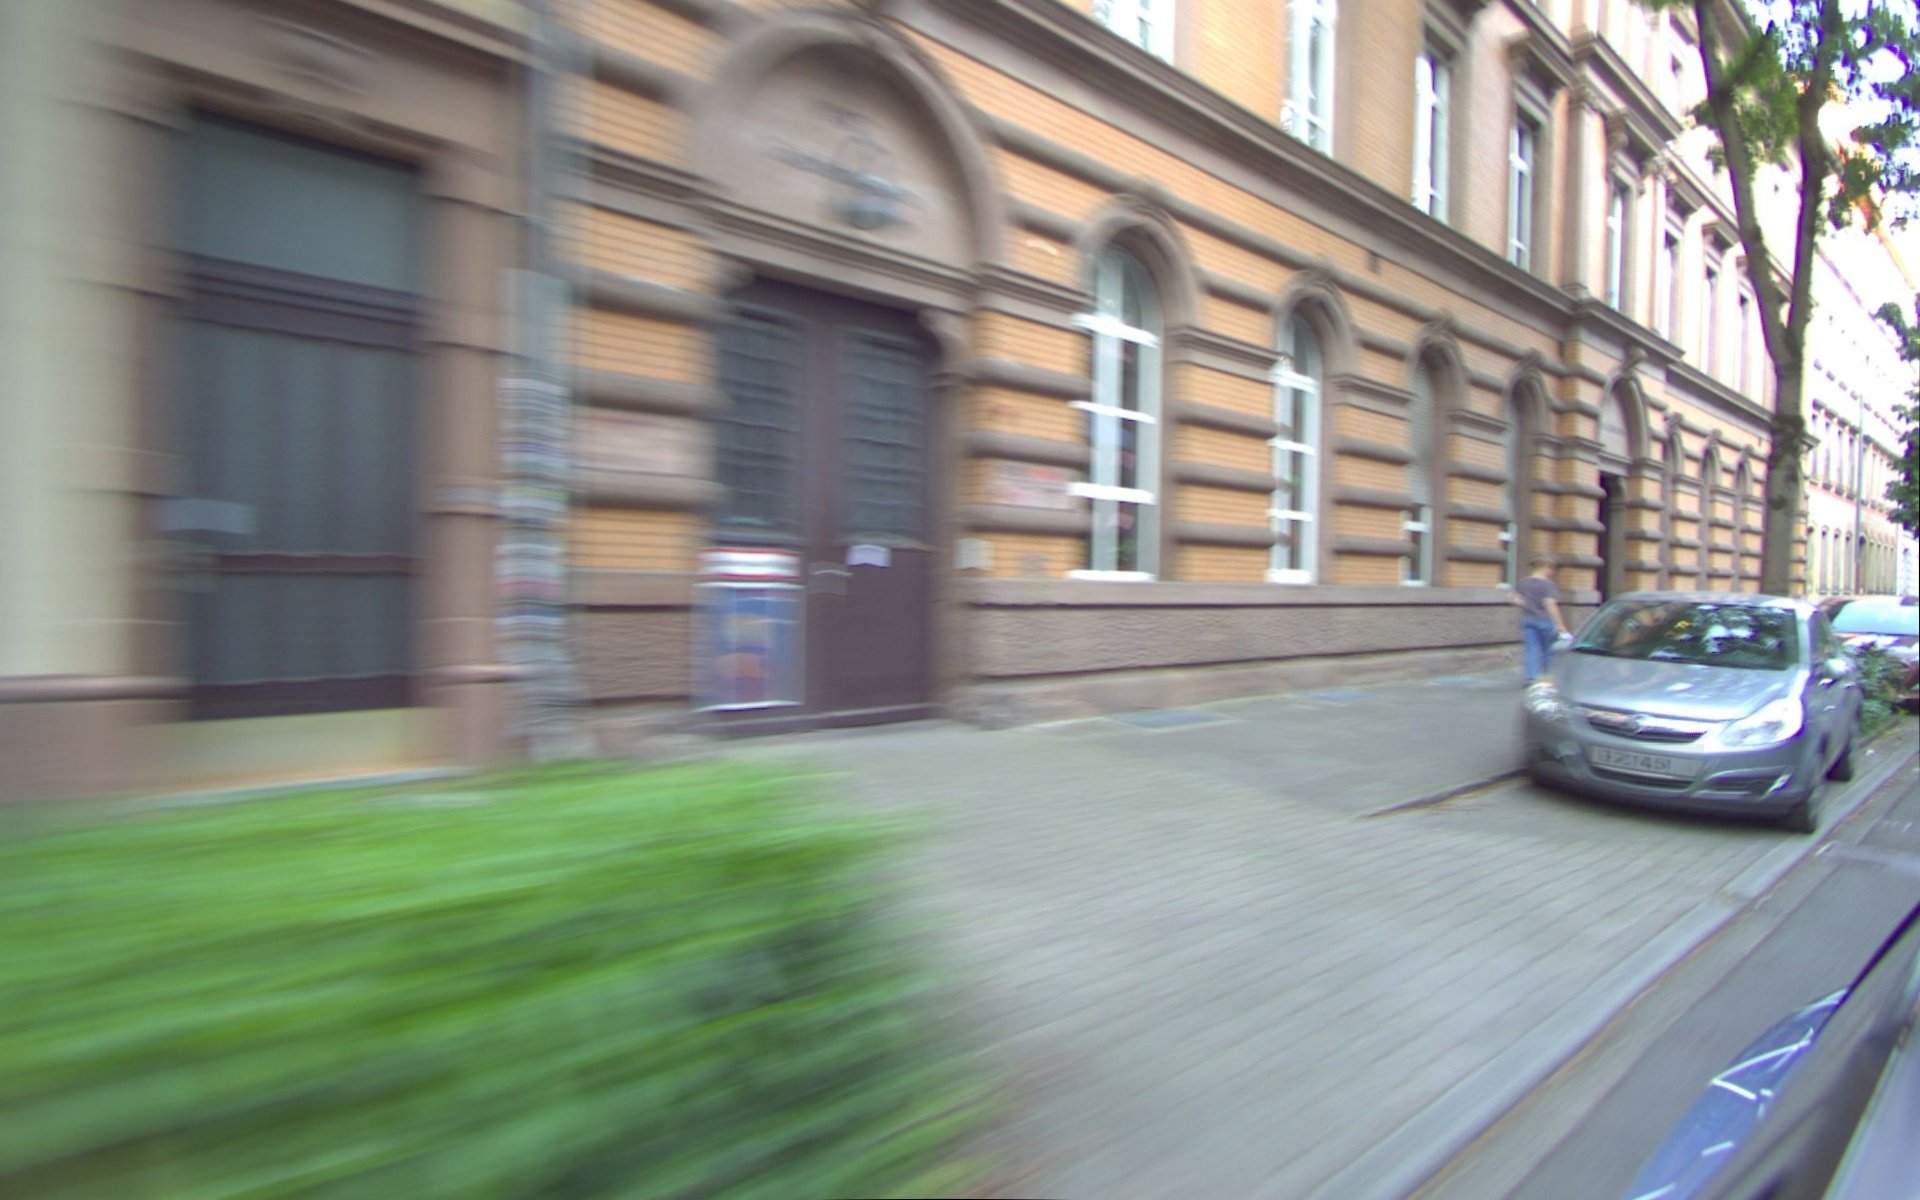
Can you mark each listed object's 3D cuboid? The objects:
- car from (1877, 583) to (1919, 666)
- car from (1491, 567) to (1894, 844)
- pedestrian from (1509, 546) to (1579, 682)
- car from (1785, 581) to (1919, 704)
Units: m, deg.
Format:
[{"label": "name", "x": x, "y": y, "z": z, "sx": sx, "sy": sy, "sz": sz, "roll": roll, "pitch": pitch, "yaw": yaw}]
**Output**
[{"label": "car", "x": 18.465, "y": 0.433, "z": 18.751, "sx": 4.566, "sy": 1.418, "sz": 1.697, "roll": 0, "pitch": 2, "yaw": -42}, {"label": "car", "x": 5.673, "y": 0.559, "z": 7.646, "sx": 3.933, "sy": 1.501, "sz": 1.700, "roll": 0, "pitch": 3, "yaw": -43}, {"label": "pedestrian", "x": 7.386, "y": 0.163, "z": 12.794, "sx": 0.522, "sy": 1.669, "sz": 0.628, "roll": 0, "pitch": 0, "yaw": -40}, {"label": "car", "x": 12.916, "y": 0.488, "z": 13.937, "sx": 4.142, "sy": 1.467, "sz": 1.725, "roll": -1, "pitch": 2, "yaw": -41}]
